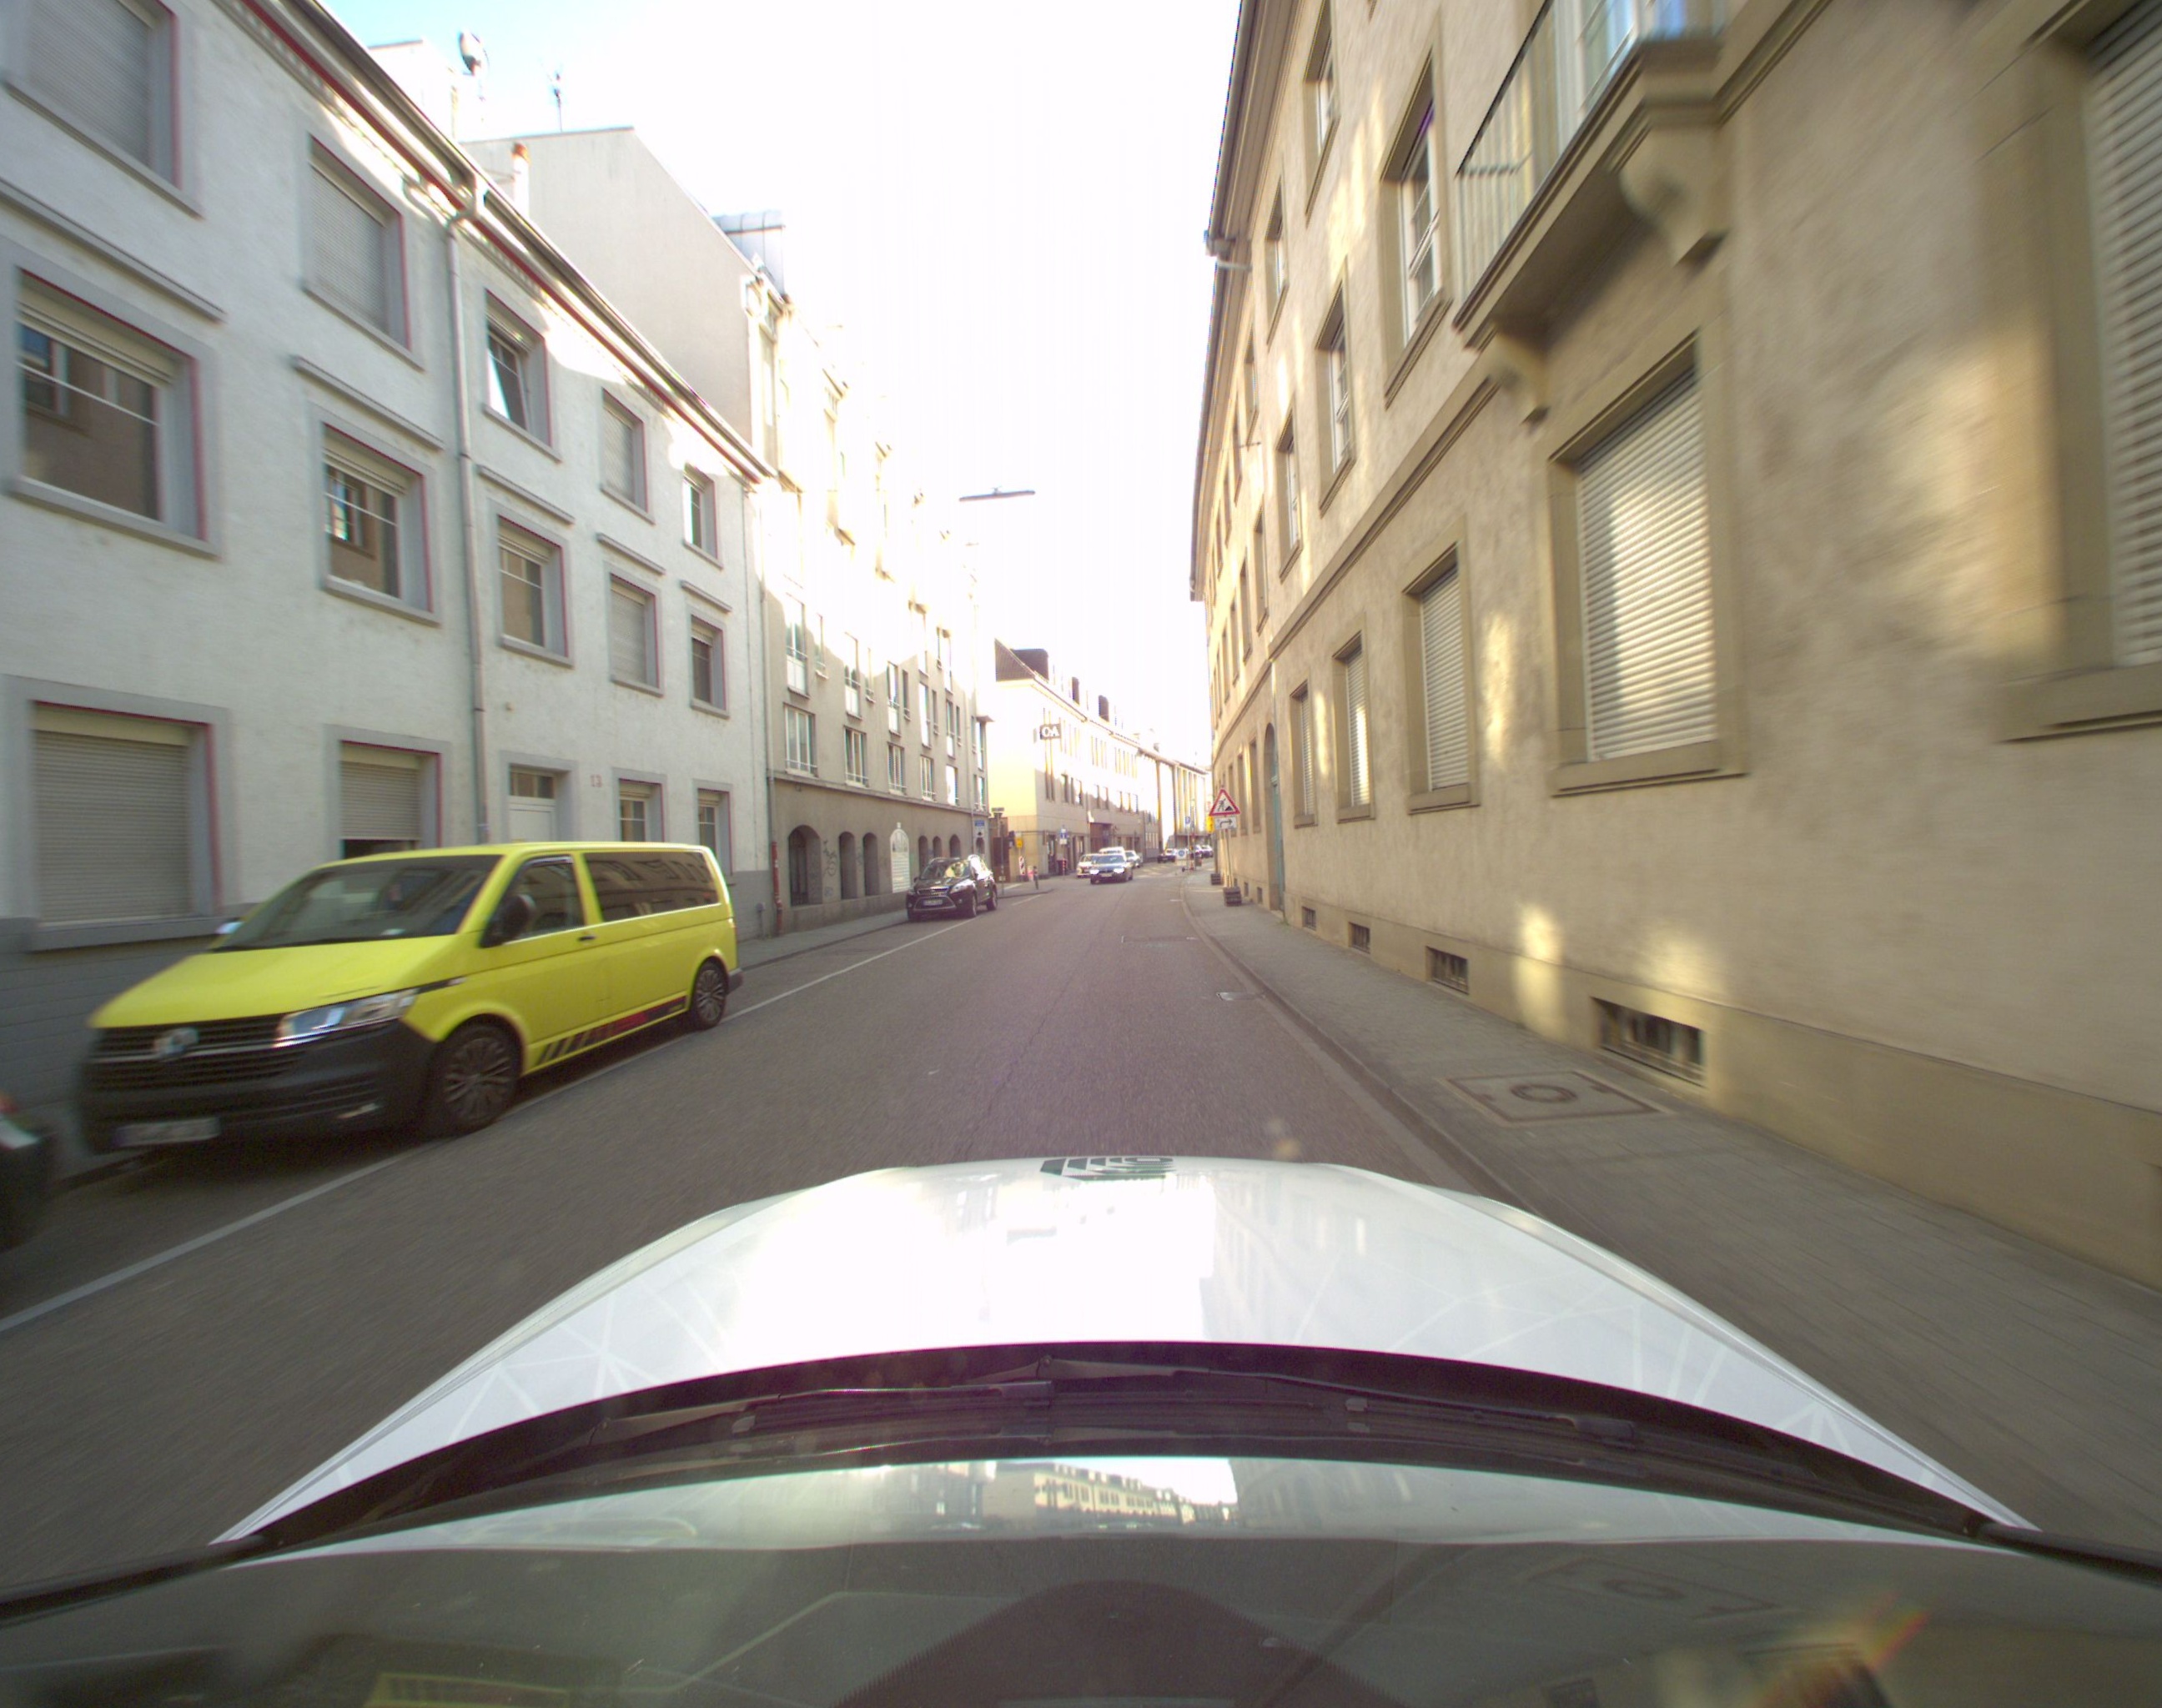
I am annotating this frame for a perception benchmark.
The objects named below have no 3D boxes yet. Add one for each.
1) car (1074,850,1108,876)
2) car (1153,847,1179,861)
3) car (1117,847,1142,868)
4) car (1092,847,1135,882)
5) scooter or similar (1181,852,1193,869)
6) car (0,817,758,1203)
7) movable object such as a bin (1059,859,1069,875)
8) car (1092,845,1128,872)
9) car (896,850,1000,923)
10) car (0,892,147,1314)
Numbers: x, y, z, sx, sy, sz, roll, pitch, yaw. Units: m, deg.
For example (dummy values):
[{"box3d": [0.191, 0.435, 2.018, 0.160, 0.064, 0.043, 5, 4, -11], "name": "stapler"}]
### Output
[{"box3d": [0.712, 0.580, 53.659, 1.661, 1.507, 3.802, -4, 0, 8], "name": "car"}, {"box3d": [8.957, 0.025, 85.619, 1.866, 1.332, 4.119, -3, 0, 17], "name": "car"}, {"box3d": [3.898, 0.274, 65.437, 1.262, 1.507, 3.415, -4, 0, 14], "name": "car"}, {"box3d": [1.588, 0.493, 40.946, 1.711, 1.578, 4.186, -3, 0, -3], "name": "car"}, {"box3d": [7.075, 0.449, 54.352, 0.766, 1.136, 0.270, 0, 0, 9], "name": "scooter or similar"}, {"box3d": [-4.713, 0.806, 6.691, 1.873, 1.866, 4.866, -5, 0, 2], "name": "car"}, {"box3d": [-1.159, 0.856, 55.048, 0.606, 1.060, 0.714, 0, 0, 4], "name": "movable object such as a bin"}, {"box3d": [2.142, 0.298, 59.405, 1.659, 1.818, 4.568, -4, 0, 13], "name": "car"}, {"box3d": [-3.654, 0.838, 23.176, 1.731, 1.711, 4.198, -5, 0, 6], "name": "car"}, {"box3d": [-4.823, 0.982, 1.306, 1.813, 1.486, 4.076, -5, 0, 0], "name": "car"}]
